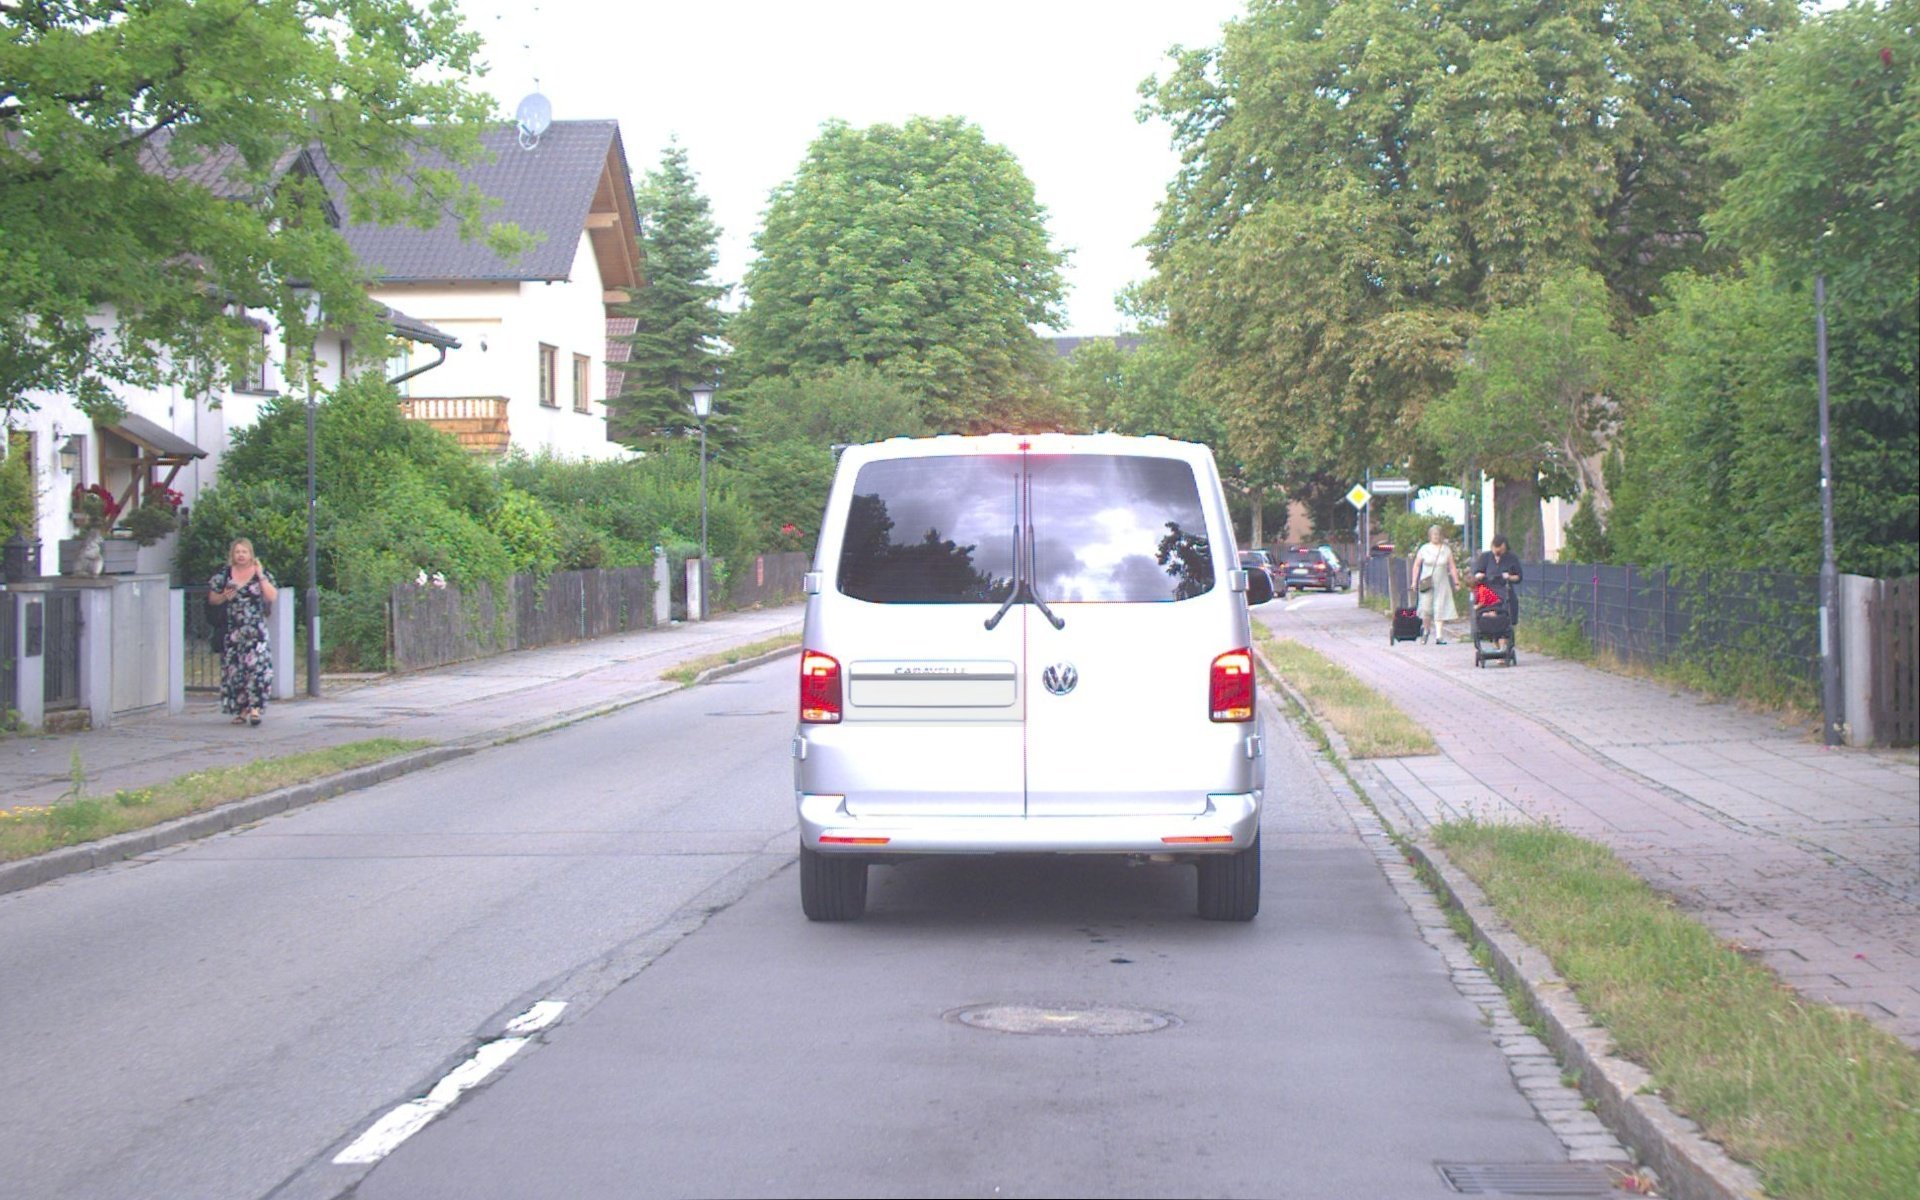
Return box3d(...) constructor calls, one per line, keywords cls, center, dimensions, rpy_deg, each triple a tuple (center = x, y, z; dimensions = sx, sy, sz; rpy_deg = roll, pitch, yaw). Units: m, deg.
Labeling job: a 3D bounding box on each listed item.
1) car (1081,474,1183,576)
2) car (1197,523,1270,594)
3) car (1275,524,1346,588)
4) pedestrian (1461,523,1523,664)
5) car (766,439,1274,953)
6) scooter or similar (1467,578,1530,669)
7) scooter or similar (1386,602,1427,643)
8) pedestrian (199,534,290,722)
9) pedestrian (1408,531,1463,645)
box3d(cls="car", center=(3.606, -1.535, 71.572), dimensions=(1.994, 2.007, 4.000), rpy_deg=(2, 1, 4))
box3d(cls="car", center=(8.035, -1.218, 100.626), dimensions=(1.994, 2.007, 3.999), rpy_deg=(-1, 1, 6))
box3d(cls="car", center=(11.303, -1.438, 110.795), dimensions=(1.994, 2.007, 3.999), rpy_deg=(-1, 1, 10))
box3d(cls="pedestrian", center=(5.919, -0.077, 38.266), dimensions=(0.551, 1.544, 0.612), rpy_deg=(1, 1, -1))
box3d(cls="car", center=(0.309, 0.335, 14.919), dimensions=(1.888, 1.905, 4.000), rpy_deg=(1, 1, 3))
box3d(cls="scooter or similar", center=(5.887, 0.257, 37.609), dimensions=(0.551, 0.968, 0.620), rpy_deg=(1, 1, -1))
box3d(cls="scooter or similar", center=(6.144, 0.303, 47.305), dimensions=(0.474, 0.543, 0.459), rpy_deg=(1, 1, -1))
box3d(cls="pedestrian", center=(-5.976, 0.229, 28.727), dimensions=(0.622, 1.544, 0.522), rpy_deg=(1, 1, -1))
box3d(cls="pedestrian", center=(6.458, -0.168, 46.726), dimensions=(0.622, 1.518, 0.579), rpy_deg=(1, 1, -1))
